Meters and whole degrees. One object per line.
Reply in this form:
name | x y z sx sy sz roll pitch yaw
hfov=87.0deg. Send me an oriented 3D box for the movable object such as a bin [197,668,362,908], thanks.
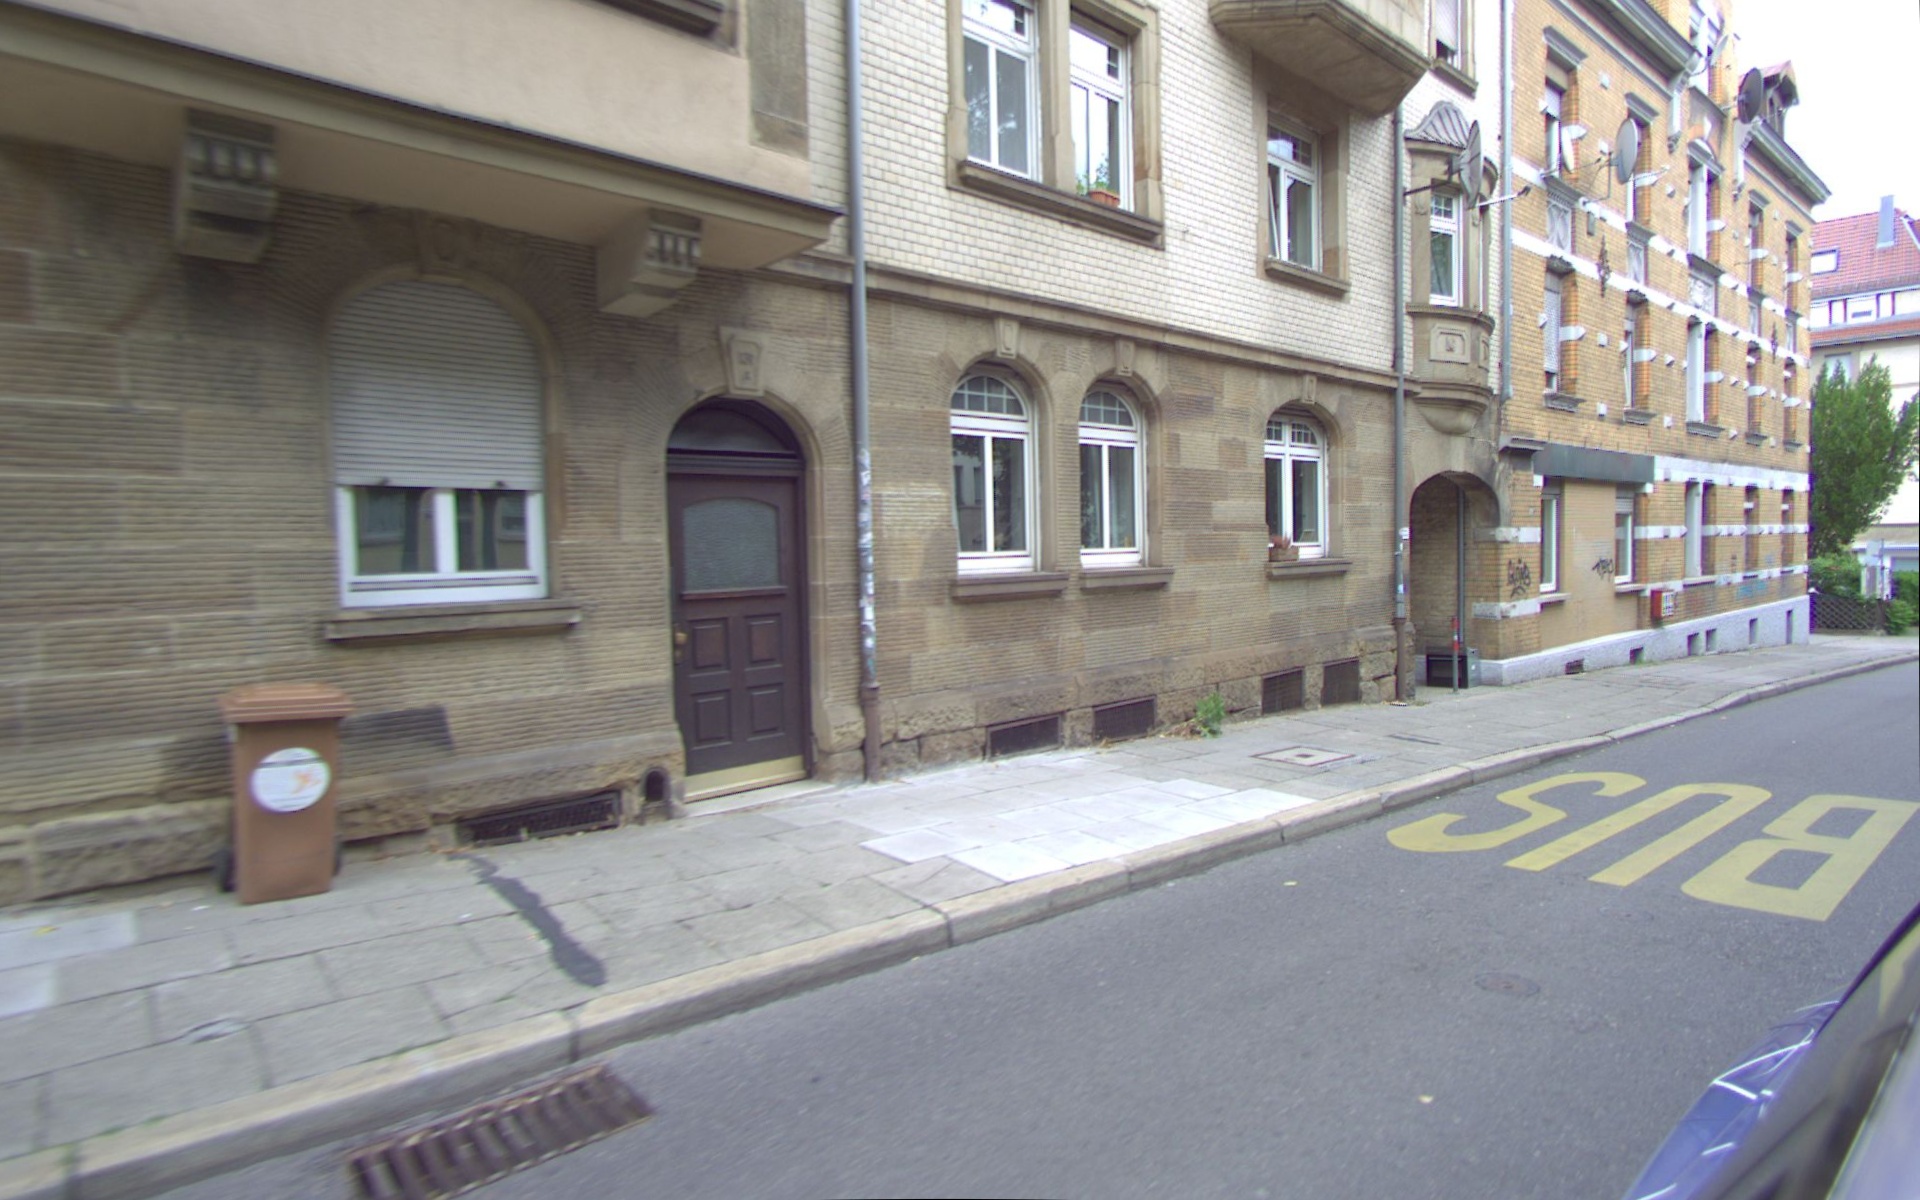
movable object such as a bin | -3.073 0.799 4.565 0.553 0.915 0.595 -1 1 -40
